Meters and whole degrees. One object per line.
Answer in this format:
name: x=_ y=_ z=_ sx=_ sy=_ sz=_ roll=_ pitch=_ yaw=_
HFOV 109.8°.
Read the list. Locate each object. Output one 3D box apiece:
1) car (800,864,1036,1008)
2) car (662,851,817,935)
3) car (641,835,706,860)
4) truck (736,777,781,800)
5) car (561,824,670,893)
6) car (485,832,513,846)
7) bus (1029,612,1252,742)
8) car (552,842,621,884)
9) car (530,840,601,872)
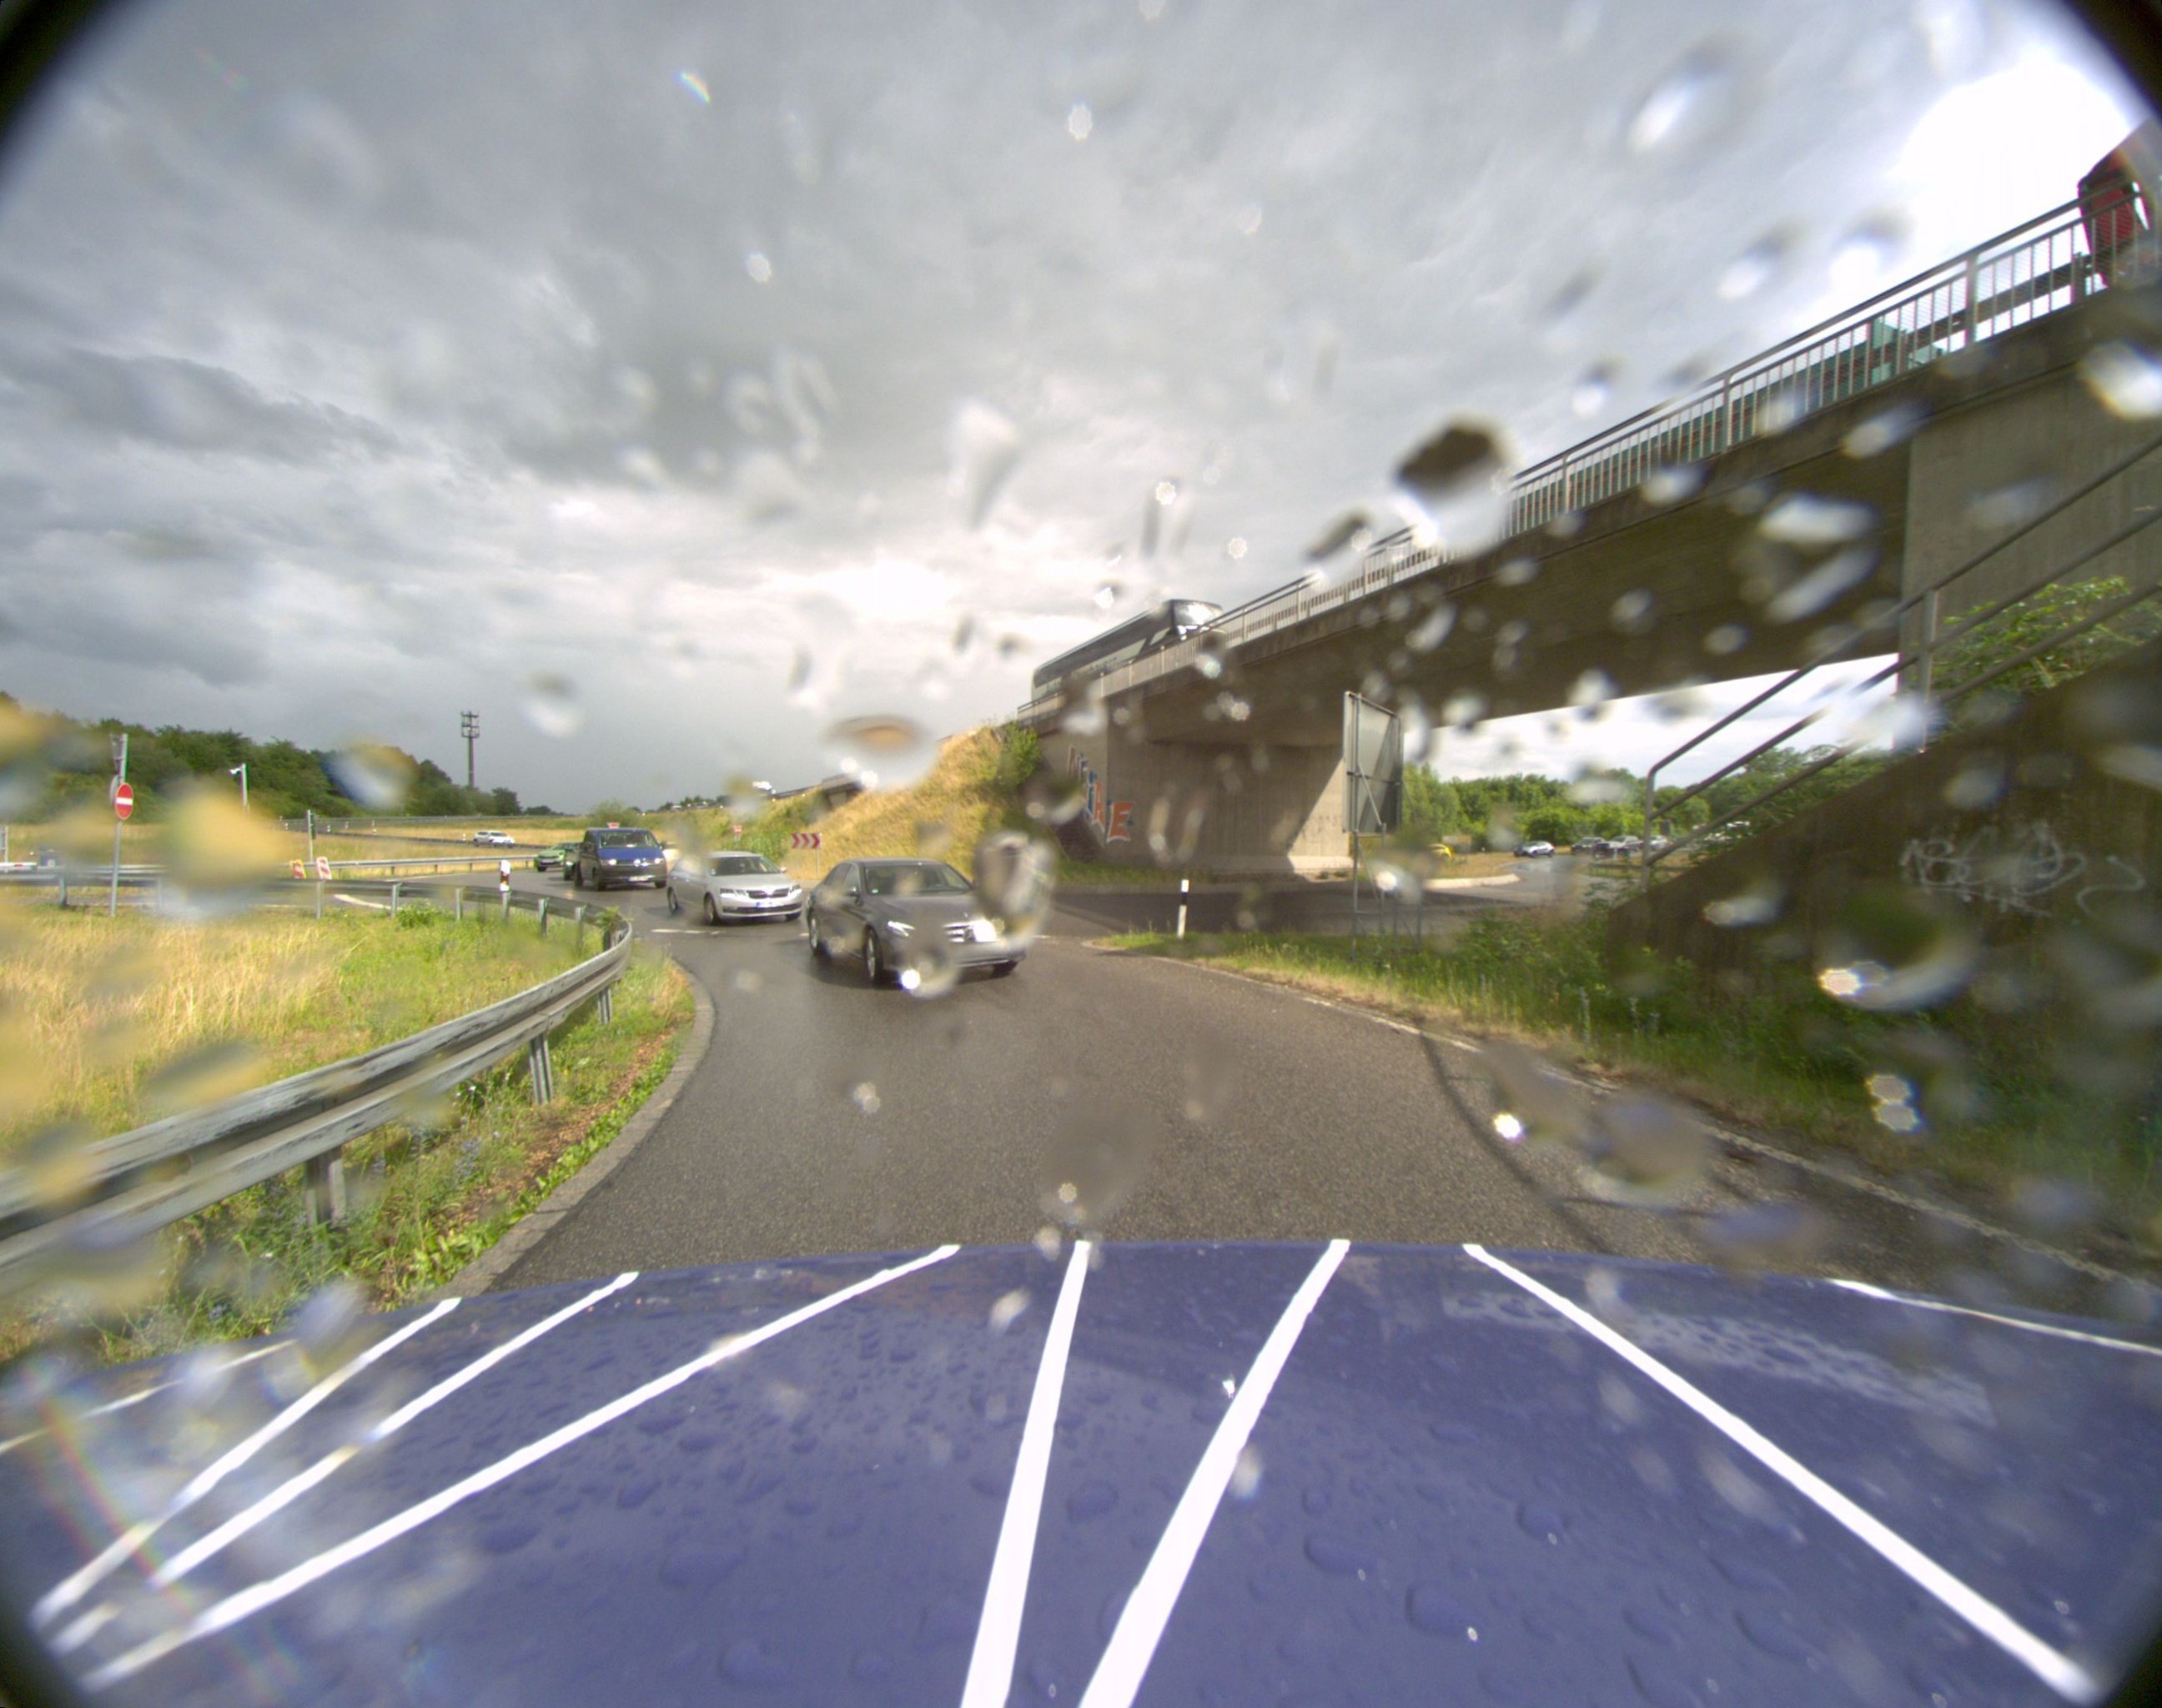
car: x=-2.469 y=0.899 z=10.432 sx=1.774 sy=1.383 sz=4.579 roll=-1 pitch=1 yaw=-31
car: x=-7.444 y=0.716 z=16.330 sx=1.801 sy=1.391 sz=4.336 roll=-3 pitch=3 yaw=-42
car: x=-25.950 y=-0.447 z=48.536 sx=1.616 sy=1.466 sz=3.848 roll=1 pitch=2 yaw=10
truck: x=-50.978 y=-10.272 z=119.860 sx=9.250 sy=3.177 sz=3.167 roll=2 pitch=4 yaw=45
car: x=-15.086 y=0.047 z=24.466 sx=1.897 sy=1.904 sz=5.664 roll=-1 pitch=3 yaw=-43
car: x=-55.463 y=-1.412 z=72.387 sx=1.715 sy=1.283 sz=3.762 roll=-1 pitch=2 yaw=-43
bus: x=1.785 y=-7.194 z=33.550 sx=2.616 sy=3.063 sz=14.426 roll=-2 pitch=3 yaw=-27
car: x=-19.214 y=0.281 z=29.465 sx=1.661 sy=1.466 sz=3.834 roll=-1 pitch=2 yaw=-41
car: x=-25.660 y=0.047 z=37.947 sx=1.619 sy=1.466 sz=3.840 roll=0 pitch=2 yaw=-13
